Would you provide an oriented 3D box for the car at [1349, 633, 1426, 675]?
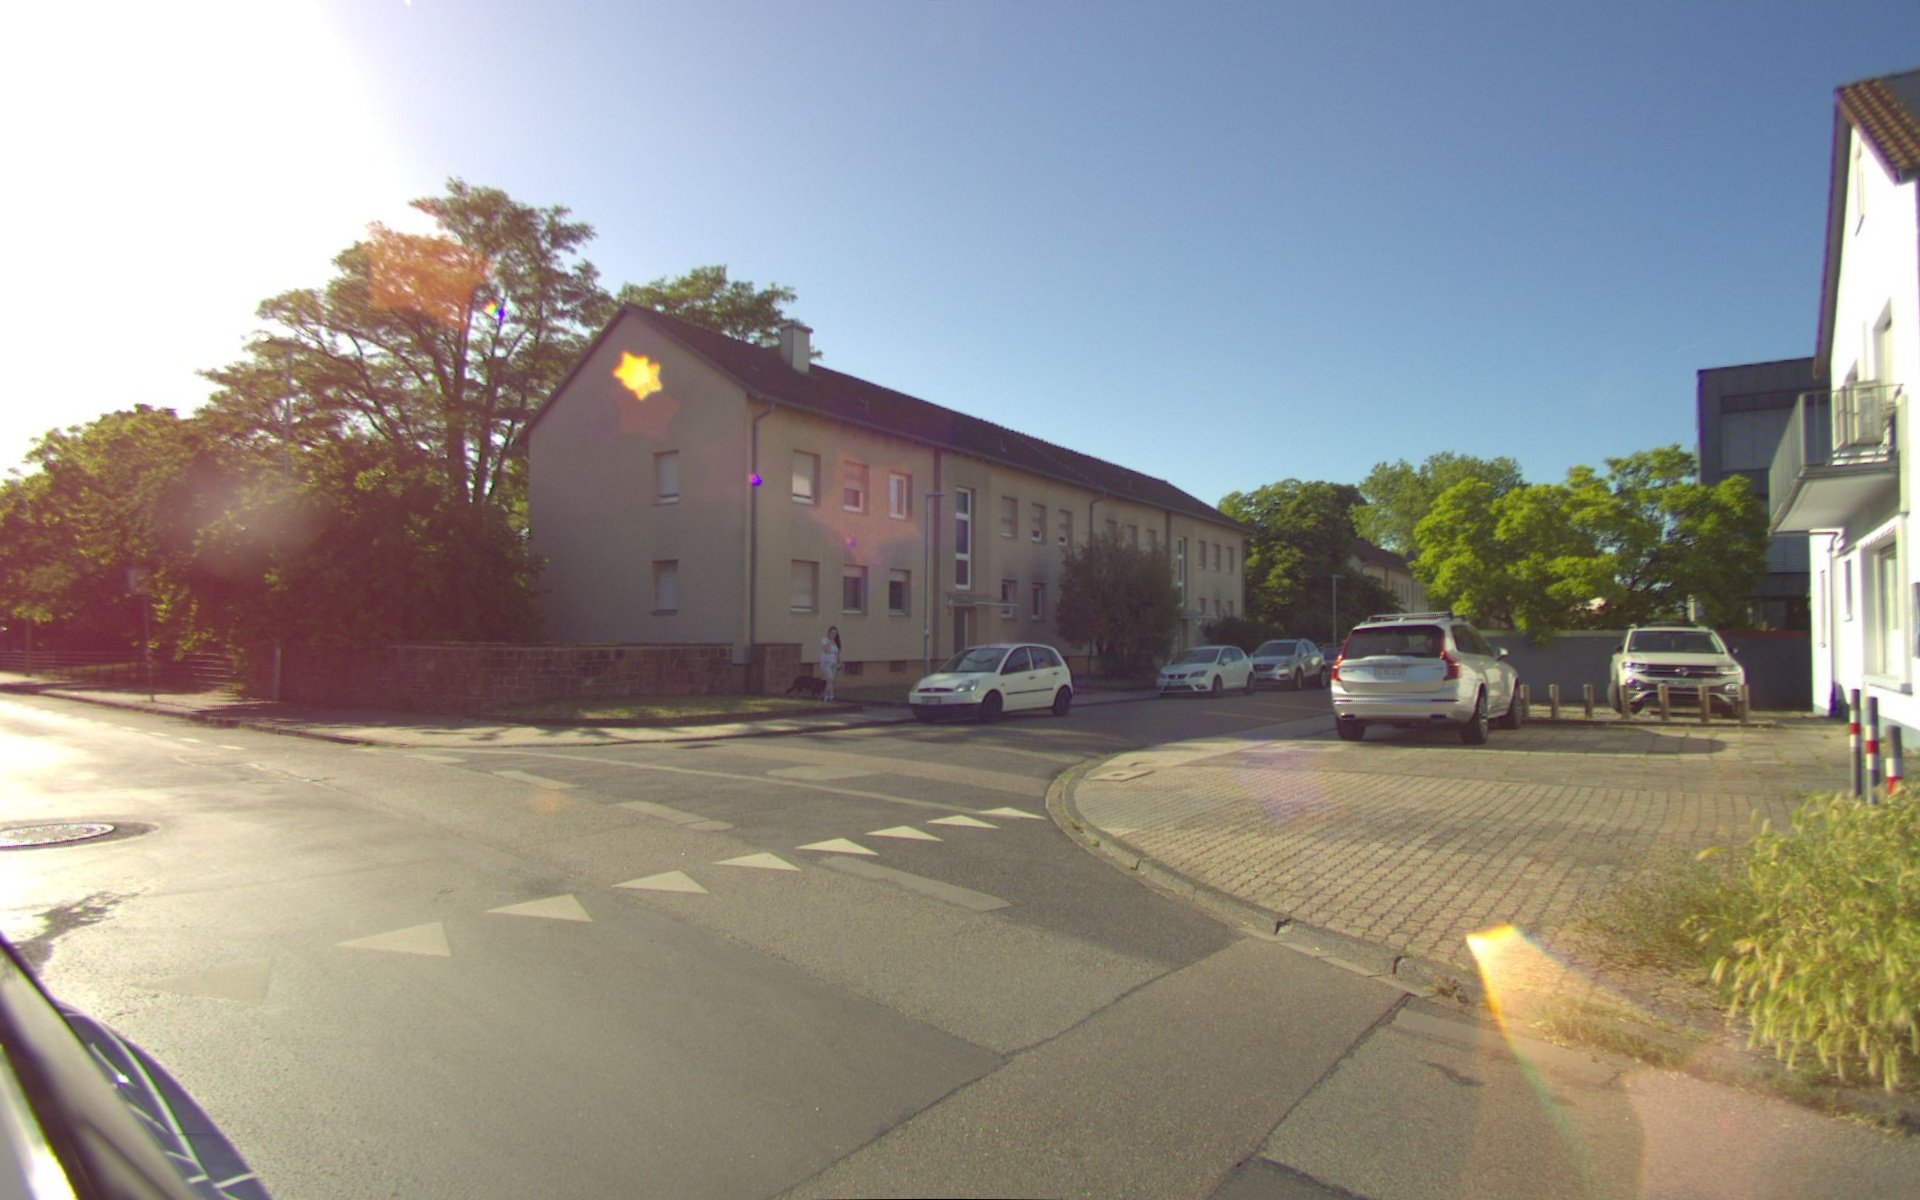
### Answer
[{"bbox_3d":[17.854,2.253,42.191,1.869,1.626,3.728,-4,-5,40],"label":"car"}]

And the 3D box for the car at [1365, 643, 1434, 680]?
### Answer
[{"bbox_3d":[20.253,2.821,46.581,1.869,1.626,3.728,-4,-5,40],"label":"car"}]

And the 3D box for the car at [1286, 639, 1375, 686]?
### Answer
[{"bbox_3d":[13.639,2.266,37.144,1.869,1.626,3.728,-4,-5,40],"label":"car"}]

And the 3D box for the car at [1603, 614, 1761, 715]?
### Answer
[{"bbox_3d":[12.947,1.199,18.131,1.997,1.567,4.458,-3,-6,37],"label":"car"}]

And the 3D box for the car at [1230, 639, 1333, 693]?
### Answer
[{"bbox_3d":[10.419,2.117,32.709,1.869,1.626,3.728,-4,-5,40],"label":"car"}]

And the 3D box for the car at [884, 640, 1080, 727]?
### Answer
[{"bbox_3d":[0.502,1.542,19.284,1.868,1.490,3.731,-4,-5,37],"label":"car"}]

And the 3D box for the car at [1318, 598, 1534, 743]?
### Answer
[{"bbox_3d":[7.174,1.047,15.327,1.996,1.852,4.448,-6,-5,36],"label":"car"}]

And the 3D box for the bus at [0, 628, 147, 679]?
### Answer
[{"bbox_3d":[-63.208,3.684,68.602,12.266,3.122,3.140,-1,-2,-31],"label":"bus"}]

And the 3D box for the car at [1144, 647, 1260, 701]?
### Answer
[{"bbox_3d":[6.812,2.033,28.298,1.867,1.407,3.733,-4,-4,35],"label":"car"}]

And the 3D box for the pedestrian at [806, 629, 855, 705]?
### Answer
[{"bbox_3d":[-2.764,1.423,21.573,0.638,1.565,0.776,-4,-3,36],"label":"pedestrian"}]
